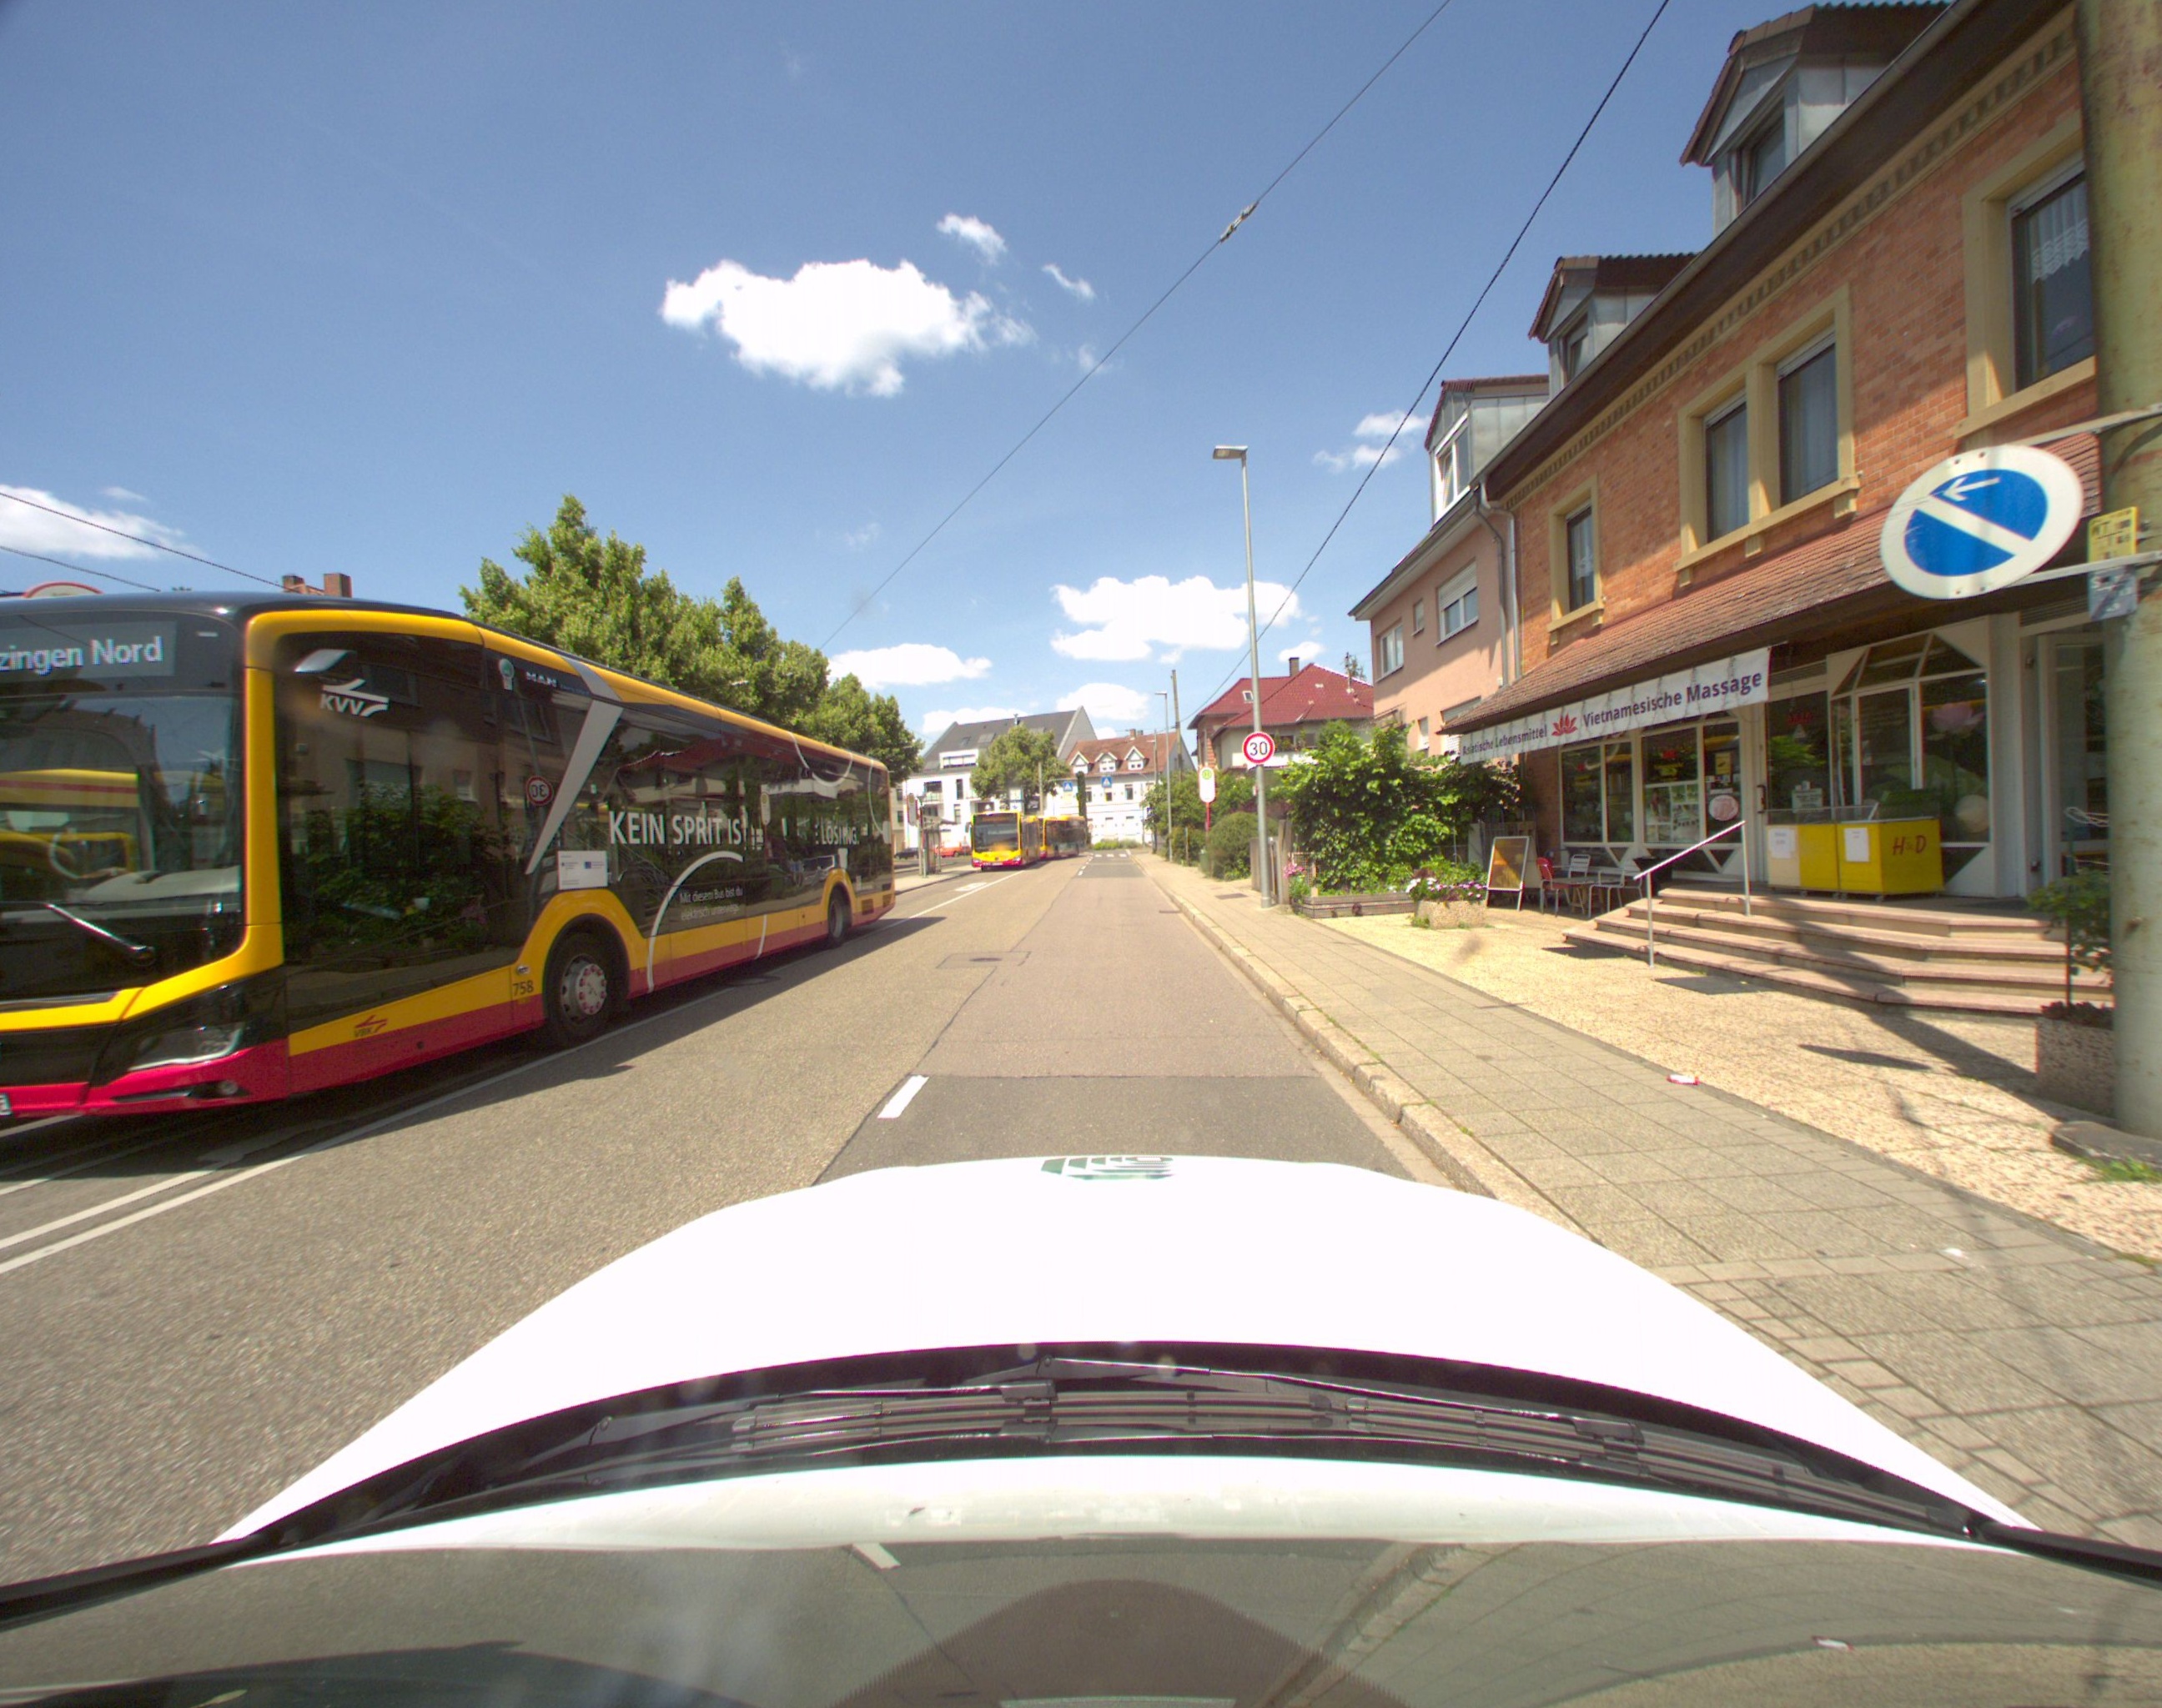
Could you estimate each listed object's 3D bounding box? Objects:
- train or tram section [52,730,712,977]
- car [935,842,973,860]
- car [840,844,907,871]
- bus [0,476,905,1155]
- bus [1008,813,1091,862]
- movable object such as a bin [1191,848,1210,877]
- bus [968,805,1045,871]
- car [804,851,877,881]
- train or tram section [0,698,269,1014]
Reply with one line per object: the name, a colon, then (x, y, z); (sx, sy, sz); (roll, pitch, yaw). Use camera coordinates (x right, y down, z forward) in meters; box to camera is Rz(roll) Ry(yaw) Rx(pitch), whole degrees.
train or tram section: (-13.563, -0.059, 19.084); (2.952, 3.642, 14.001); (0, 0, 2)
car: (-14.783, -0.348, 94.567); (3.949, 2.014, 2.012); (-1, -1, 31)
car: (-10.894, 0.172, 42.898); (3.274, 1.373, 1.465); (0, -1, -7)
bus: (-5.198, -0.129, 10.024); (2.886, 3.247, 12.203); (0, -1, 3)
bus: (-2.001, -1.256, 59.668); (2.760, 3.208, 12.354); (0, 2, 14)
movable object such as a bin: (3.927, 0.294, 26.812); (0.405, 0.907, 0.729); (-6, -1, -1)
bus: (-3.927, -0.827, 46.214); (2.896, 3.247, 12.123); (0, 0, 2)
car: (-11.433, 0.542, 38.748); (3.287, 1.373, 1.460); (0, -1, -18)
train or tram section: (-14.126, 0.076, 3.708); (2.952, 3.642, 17.361); (0, 0, 2)
